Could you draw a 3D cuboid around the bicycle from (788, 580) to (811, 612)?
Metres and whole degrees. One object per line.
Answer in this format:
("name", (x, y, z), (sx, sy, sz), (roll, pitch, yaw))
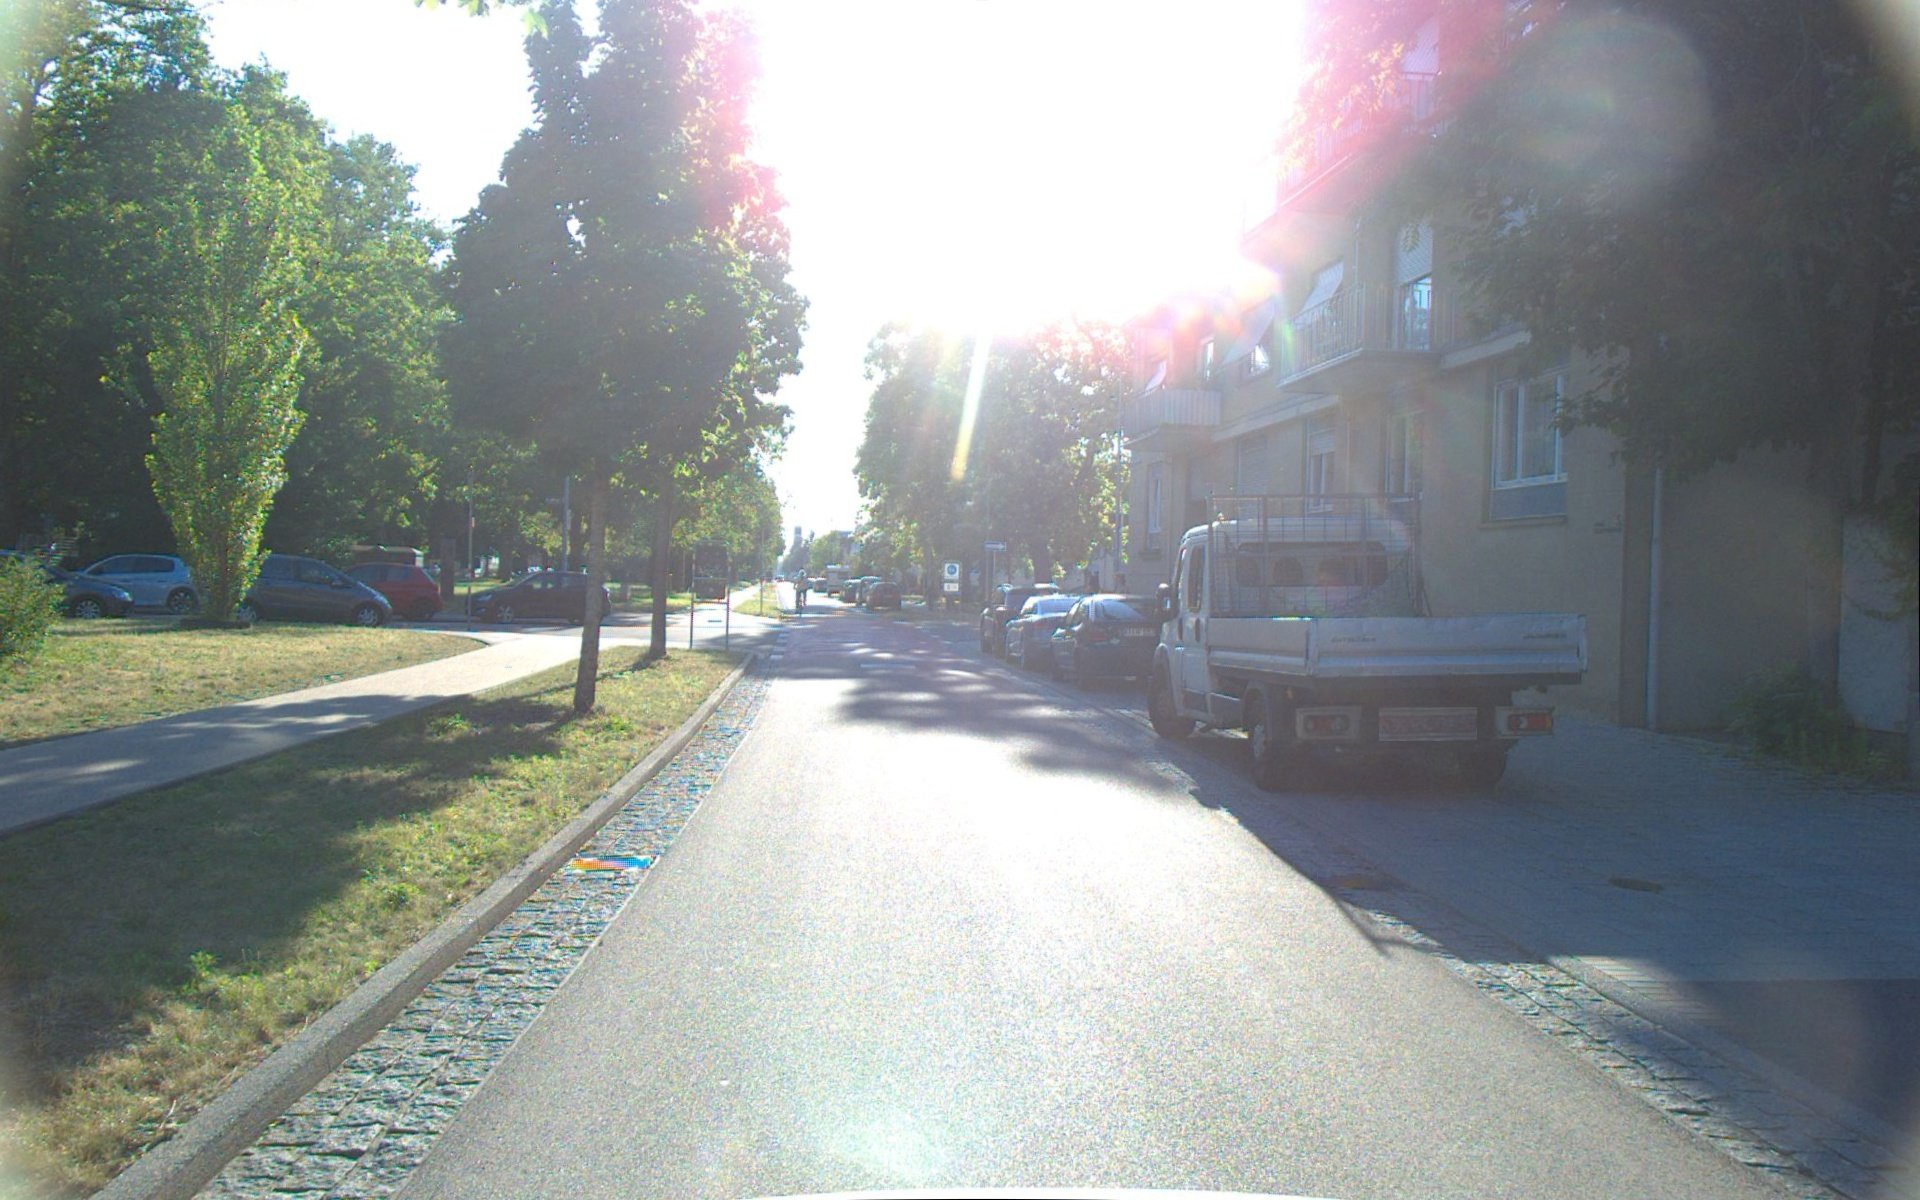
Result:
("bicycle", (-6.425, -0.157, 66.306), (0.674, 1.223, 2.343), (2, 1, -1))

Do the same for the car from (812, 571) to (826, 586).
("car", (-21.257, -3.242, 248.809), (1.954, 2.004, 3.997), (3, 1, -5))

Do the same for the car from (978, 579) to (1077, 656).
("car", (1.443, 0.346, 36.670), (1.658, 1.592, 4.100), (1, 1, -5))

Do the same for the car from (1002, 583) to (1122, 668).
("car", (1.859, 0.439, 31.395), (1.658, 1.465, 4.100), (1, 1, -5))

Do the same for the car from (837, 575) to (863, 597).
("car", (-7.893, -1.009, 119.015), (1.758, 1.536, 3.997), (2, 1, -4))

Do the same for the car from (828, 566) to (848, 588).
("car", (-11.451, -2.148, 155.707), (1.758, 2.034, 3.997), (2, 1, -4))

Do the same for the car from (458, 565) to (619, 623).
("car", (-11.591, -0.152, 45.501), (3.947, 1.445, 1.753), (2, 1, -32))

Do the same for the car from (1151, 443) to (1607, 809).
("car", (3.343, 0.128, 14.798), (2.167, 2.574, 6.143), (-1, 1, -4))

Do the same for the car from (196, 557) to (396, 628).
("car", (-14.885, -0.164, 37.105), (3.945, 1.445, 1.754), (2, 1, -31))

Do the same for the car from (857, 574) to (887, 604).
("car", (-5.533, -0.722, 103.603), (1.758, 1.754, 3.997), (2, 1, -4))

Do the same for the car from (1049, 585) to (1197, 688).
("car", (2.484, 0.515, 25.957), (1.658, 1.465, 3.547), (1, 1, -5))

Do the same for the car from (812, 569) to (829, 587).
("car", (-16.624, -2.656, 197.073), (1.954, 2.004, 3.997), (3, 1, -5))

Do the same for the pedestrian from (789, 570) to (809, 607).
("pedestrian", (-6.444, -0.460, 66.336), (0.674, 1.459, 1.024), (2, 1, -1))

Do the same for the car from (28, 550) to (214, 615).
("car", (-20.463, -0.421, 40.490), (3.938, 1.445, 1.757), (2, 1, -26))

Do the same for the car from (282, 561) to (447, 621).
("car", (-15.618, -0.240, 43.421), (3.868, 1.445, 1.756), (2, 1, -28))

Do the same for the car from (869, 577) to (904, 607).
("car", (-3.979, -0.447, 89.607), (1.757, 1.536, 3.999), (2, 1, -1))

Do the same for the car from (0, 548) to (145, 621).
("car", (-19.314, -0.344, 34.634), (3.942, 1.445, 1.755), (2, 1, -29))
